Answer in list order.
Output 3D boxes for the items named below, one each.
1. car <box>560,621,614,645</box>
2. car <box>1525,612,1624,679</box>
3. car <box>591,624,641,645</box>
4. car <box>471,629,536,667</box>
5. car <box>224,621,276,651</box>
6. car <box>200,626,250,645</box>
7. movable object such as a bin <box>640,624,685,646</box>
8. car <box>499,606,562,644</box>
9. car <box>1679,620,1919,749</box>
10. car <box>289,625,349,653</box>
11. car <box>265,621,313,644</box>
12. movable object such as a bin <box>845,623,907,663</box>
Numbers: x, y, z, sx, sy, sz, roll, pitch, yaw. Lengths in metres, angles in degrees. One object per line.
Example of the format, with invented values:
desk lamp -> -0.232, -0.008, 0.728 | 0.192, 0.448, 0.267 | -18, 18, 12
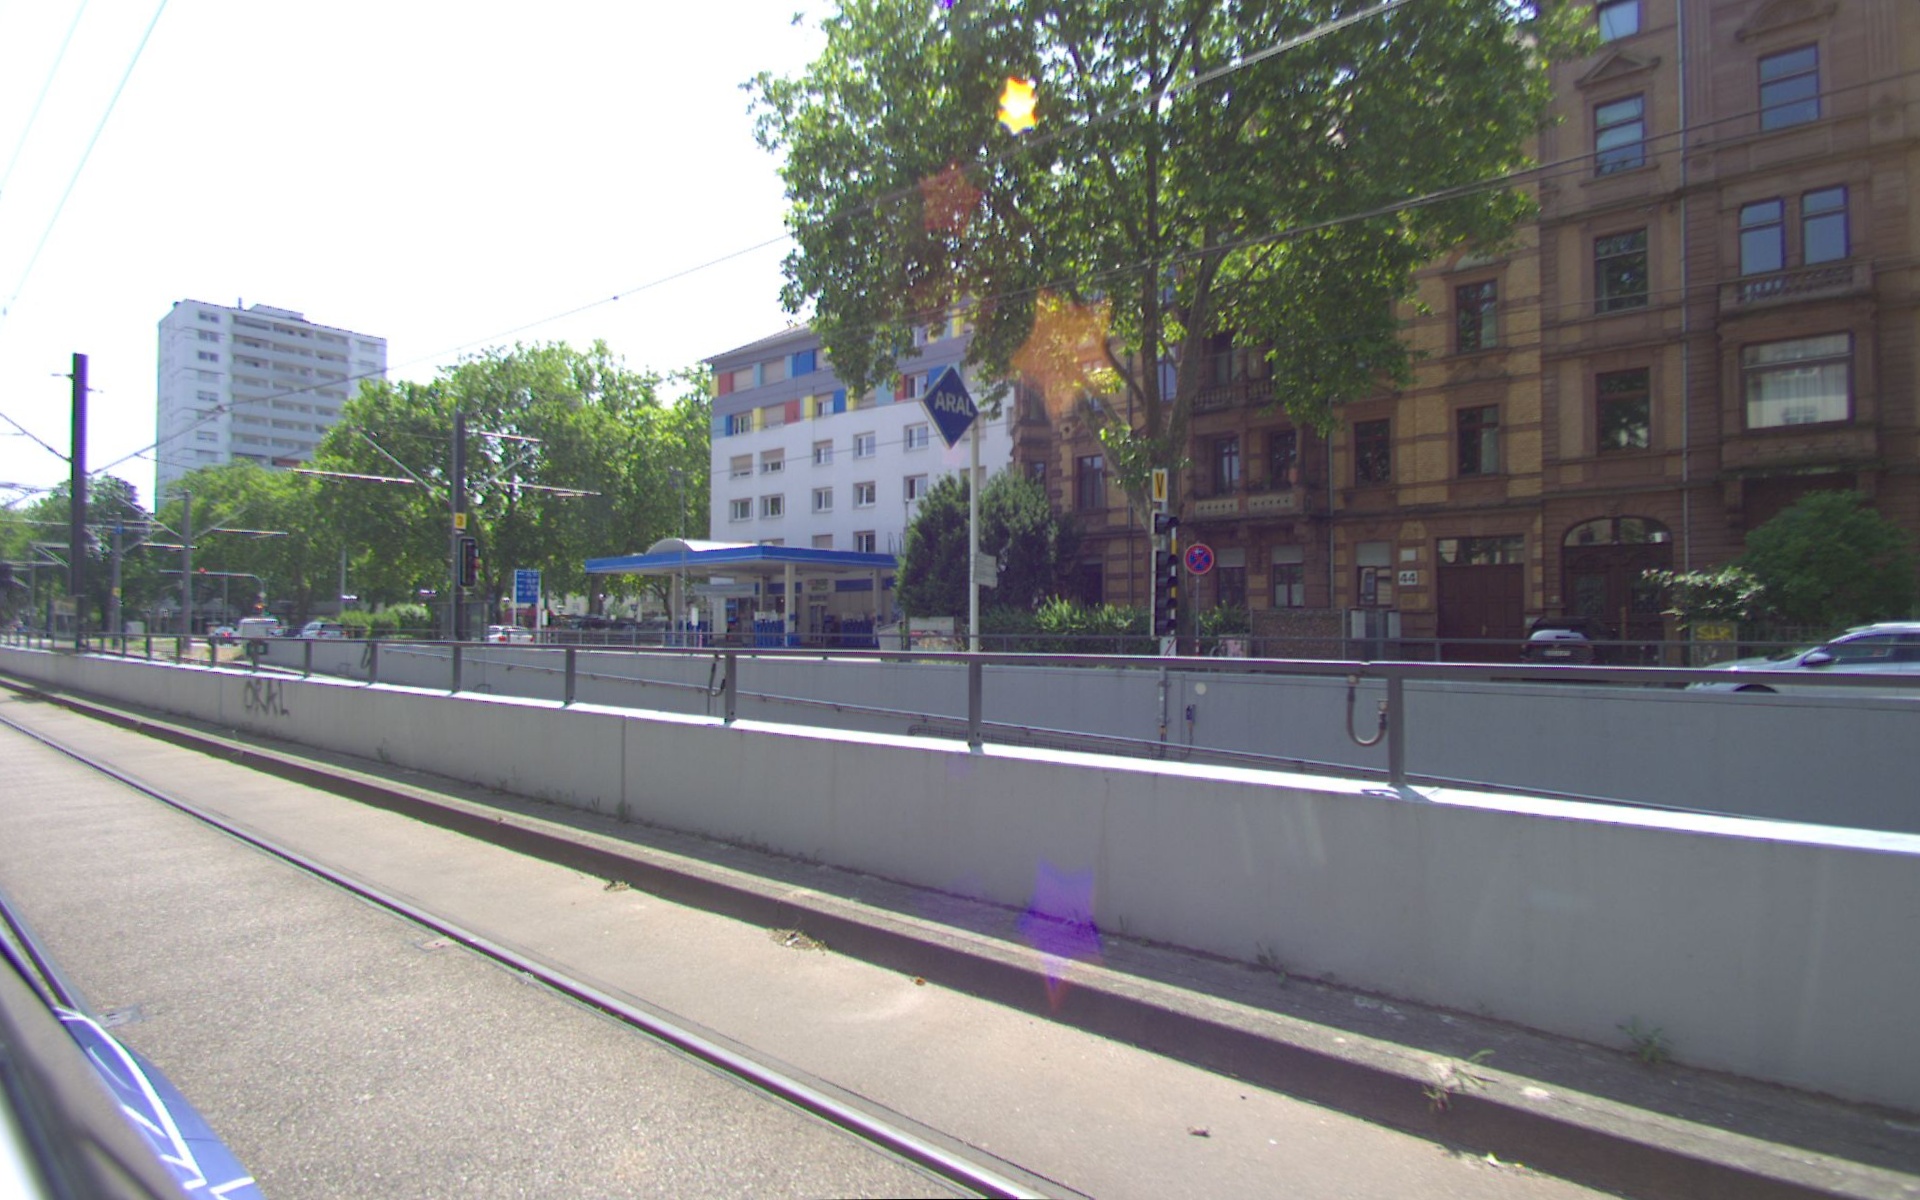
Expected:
car -> -26.967, 2.359, 73.058 | 3.998, 1.733, 1.973 | -1, -2, 41
car -> 14.355, 1.025, 23.564 | 1.649, 1.436, 3.449 | -1, -2, 37
car -> -25.681, 2.562, 75.517 | 3.997, 1.538, 1.844 | -2, -2, 41
car -> -20.050, 2.074, 44.354 | 1.525, 1.573, 3.883 | 0, -2, -42
car -> -49.513, 2.519, 70.531 | 4.800, 2.006, 1.759 | -2, -2, 40
car -> -54.028, 2.631, 74.364 | 4.624, 1.369, 1.927 | -2, -3, 40
movable object such as a bin -> -22.526, 2.652, 76.628 | 1.985, 1.623, 2.689 | -2, -2, 40
car -> -29.369, 1.682, 69.163 | 4.978, 2.410, 1.828 | 0, 2, 40
car -> 12.757, 1.164, 13.761 | 4.714, 1.637, 1.973 | -2, -6, 40
car -> -38.763, 2.346, 61.147 | 4.601, 1.638, 1.827 | -2, -3, 42
car -> -43.541, 2.115, 65.614 | 3.779, 1.431, 1.580 | -2, -4, 41
movable object such as a bin -> -3.043, 1.555, 36.784 | 1.468, 1.395, 1.765 | -2, -2, 39
